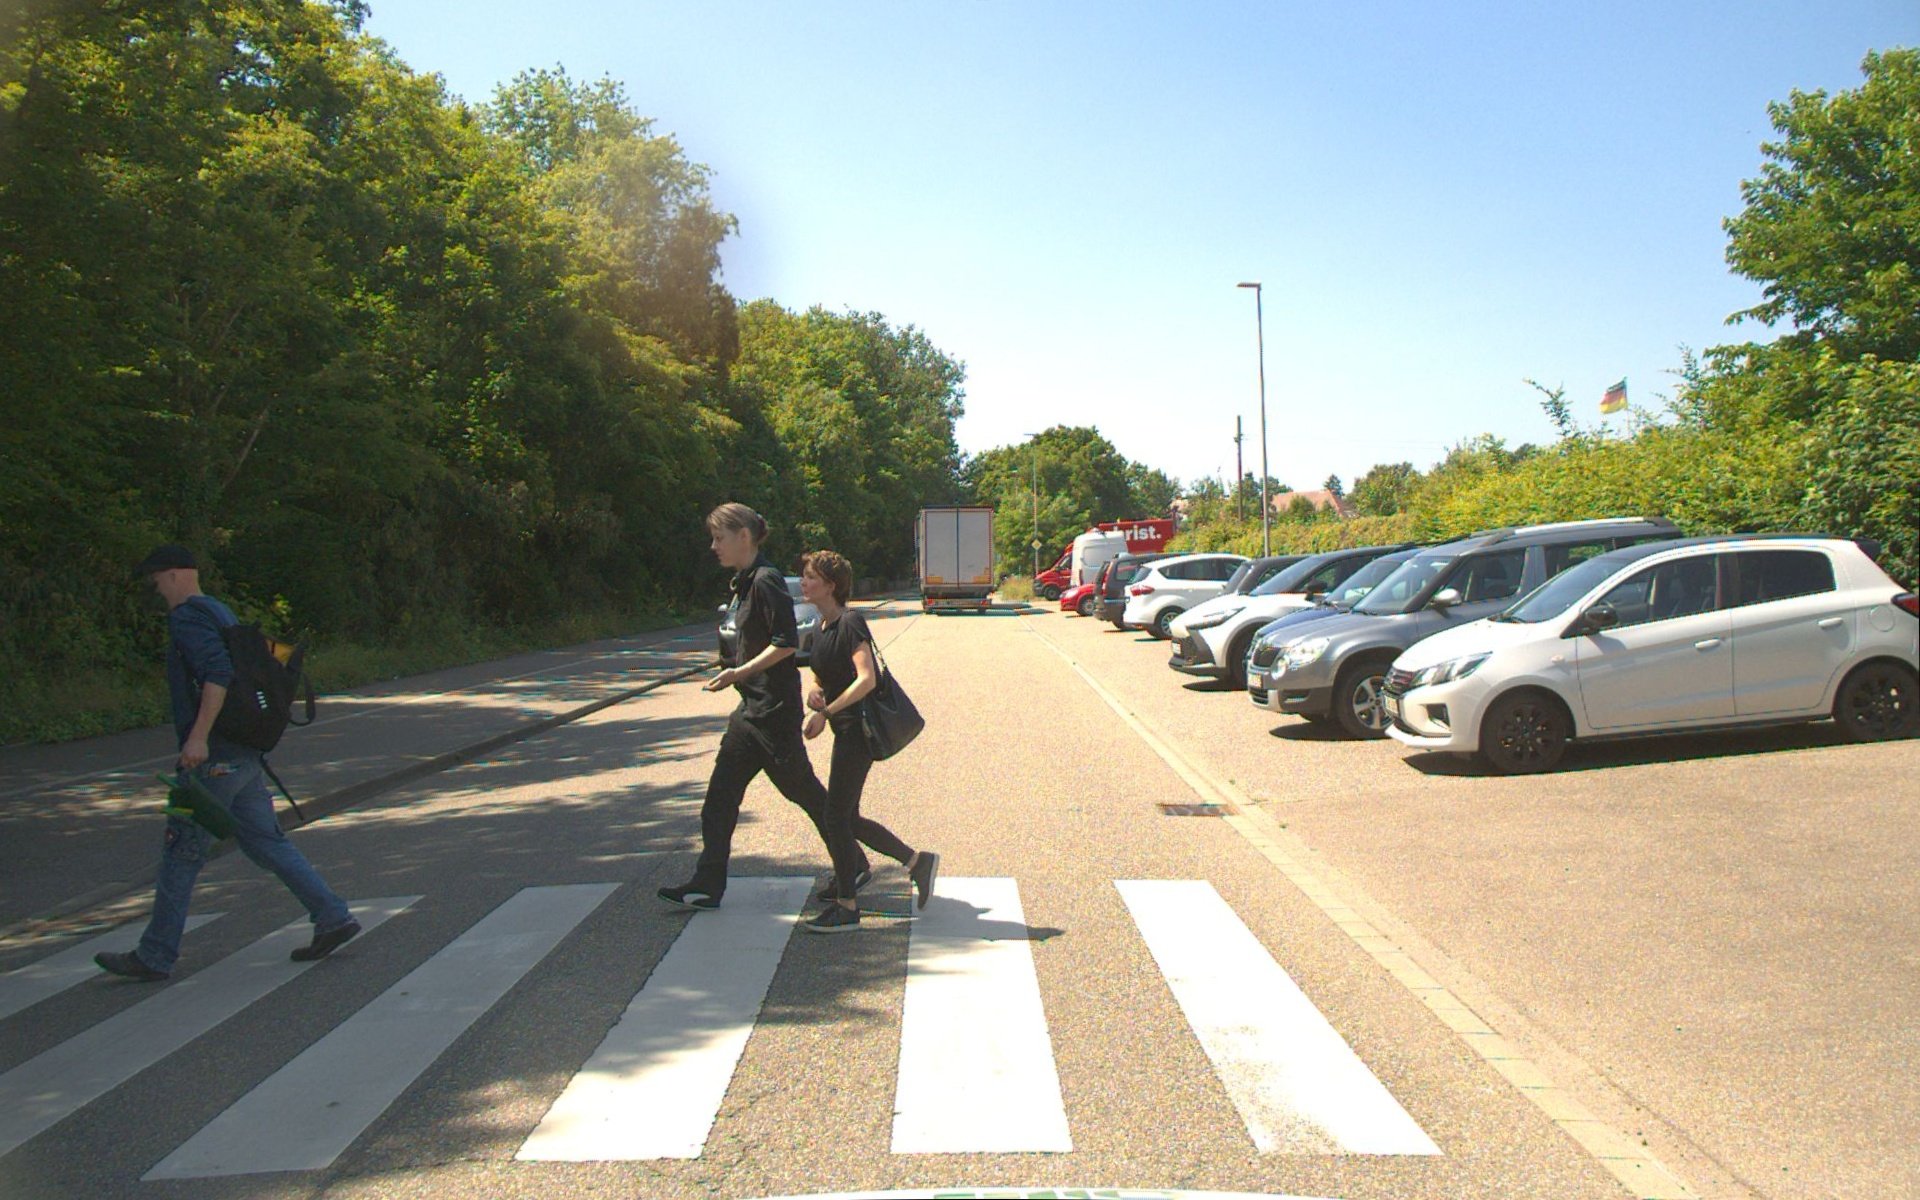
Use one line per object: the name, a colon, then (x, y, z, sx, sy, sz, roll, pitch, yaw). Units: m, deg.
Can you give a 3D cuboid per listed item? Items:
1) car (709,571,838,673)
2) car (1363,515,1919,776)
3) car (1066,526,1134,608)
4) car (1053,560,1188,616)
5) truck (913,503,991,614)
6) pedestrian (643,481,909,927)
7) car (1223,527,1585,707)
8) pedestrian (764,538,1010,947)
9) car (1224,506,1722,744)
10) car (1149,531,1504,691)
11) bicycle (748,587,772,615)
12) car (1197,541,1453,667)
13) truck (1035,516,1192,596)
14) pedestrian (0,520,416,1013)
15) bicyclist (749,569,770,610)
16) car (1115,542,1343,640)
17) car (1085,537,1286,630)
car: (-3.336, 0.333, 30.324, 1.853, 1.558, 4.196, -6, 1, -1)
car: (4.987, 0.293, 12.152, 3.613, 1.475, 1.611, -5, 1, 3)
car: (5.231, -1.262, 62.774, 1.914, 2.780, 7.169, -4, 1, 1)
car: (5.042, -0.388, 52.347, 3.974, 1.458, 1.835, -4, 1, -3)
truck: (-0.190, -1.548, 63.935, 2.677, 3.811, 13.247, -1, 1, 1)
pedestrian: (-0.860, 0.439, 7.583, 1.066, 1.897, 0.780, 0, 0, -19)
car: (4.757, 0.155, 17.955, 3.386, 1.553, 1.538, -6, 1, -5)
pedestrian: (-0.331, 0.566, 7.142, 0.880, 1.639, 0.777, 0, 0, -19)
car: (4.569, 0.189, 15.024, 3.885, 1.668, 1.662, -6, 1, -6)
car: (4.537, 0.112, 20.821, 3.887, 1.549, 1.862, -6, 1, -6)
bicycle: (-7.880, 0.017, 65.207, 0.549, 1.045, 1.840, -2, 1, 4)
car: (5.186, 0.035, 23.823, 3.317, 1.529, 1.589, -4, 1, 3)
truck: (7.175, -2.044, 76.926, 6.984, 3.500, 2.332, -1, 2, 11)
pedestrian: (-3.024, 0.619, 6.804, 1.132, 1.781, 1.022, -5, 1, -4)
bicyclist: (-7.890, -0.429, 65.190, 0.635, 1.592, 0.837, -2, 1, 4)
car: (5.364, -0.196, 33.275, 4.191, 1.605, 1.765, -4, 1, -2)
car: (5.333, -0.386, 39.485, 4.366, 1.836, 1.951, -4, 0, -4)
